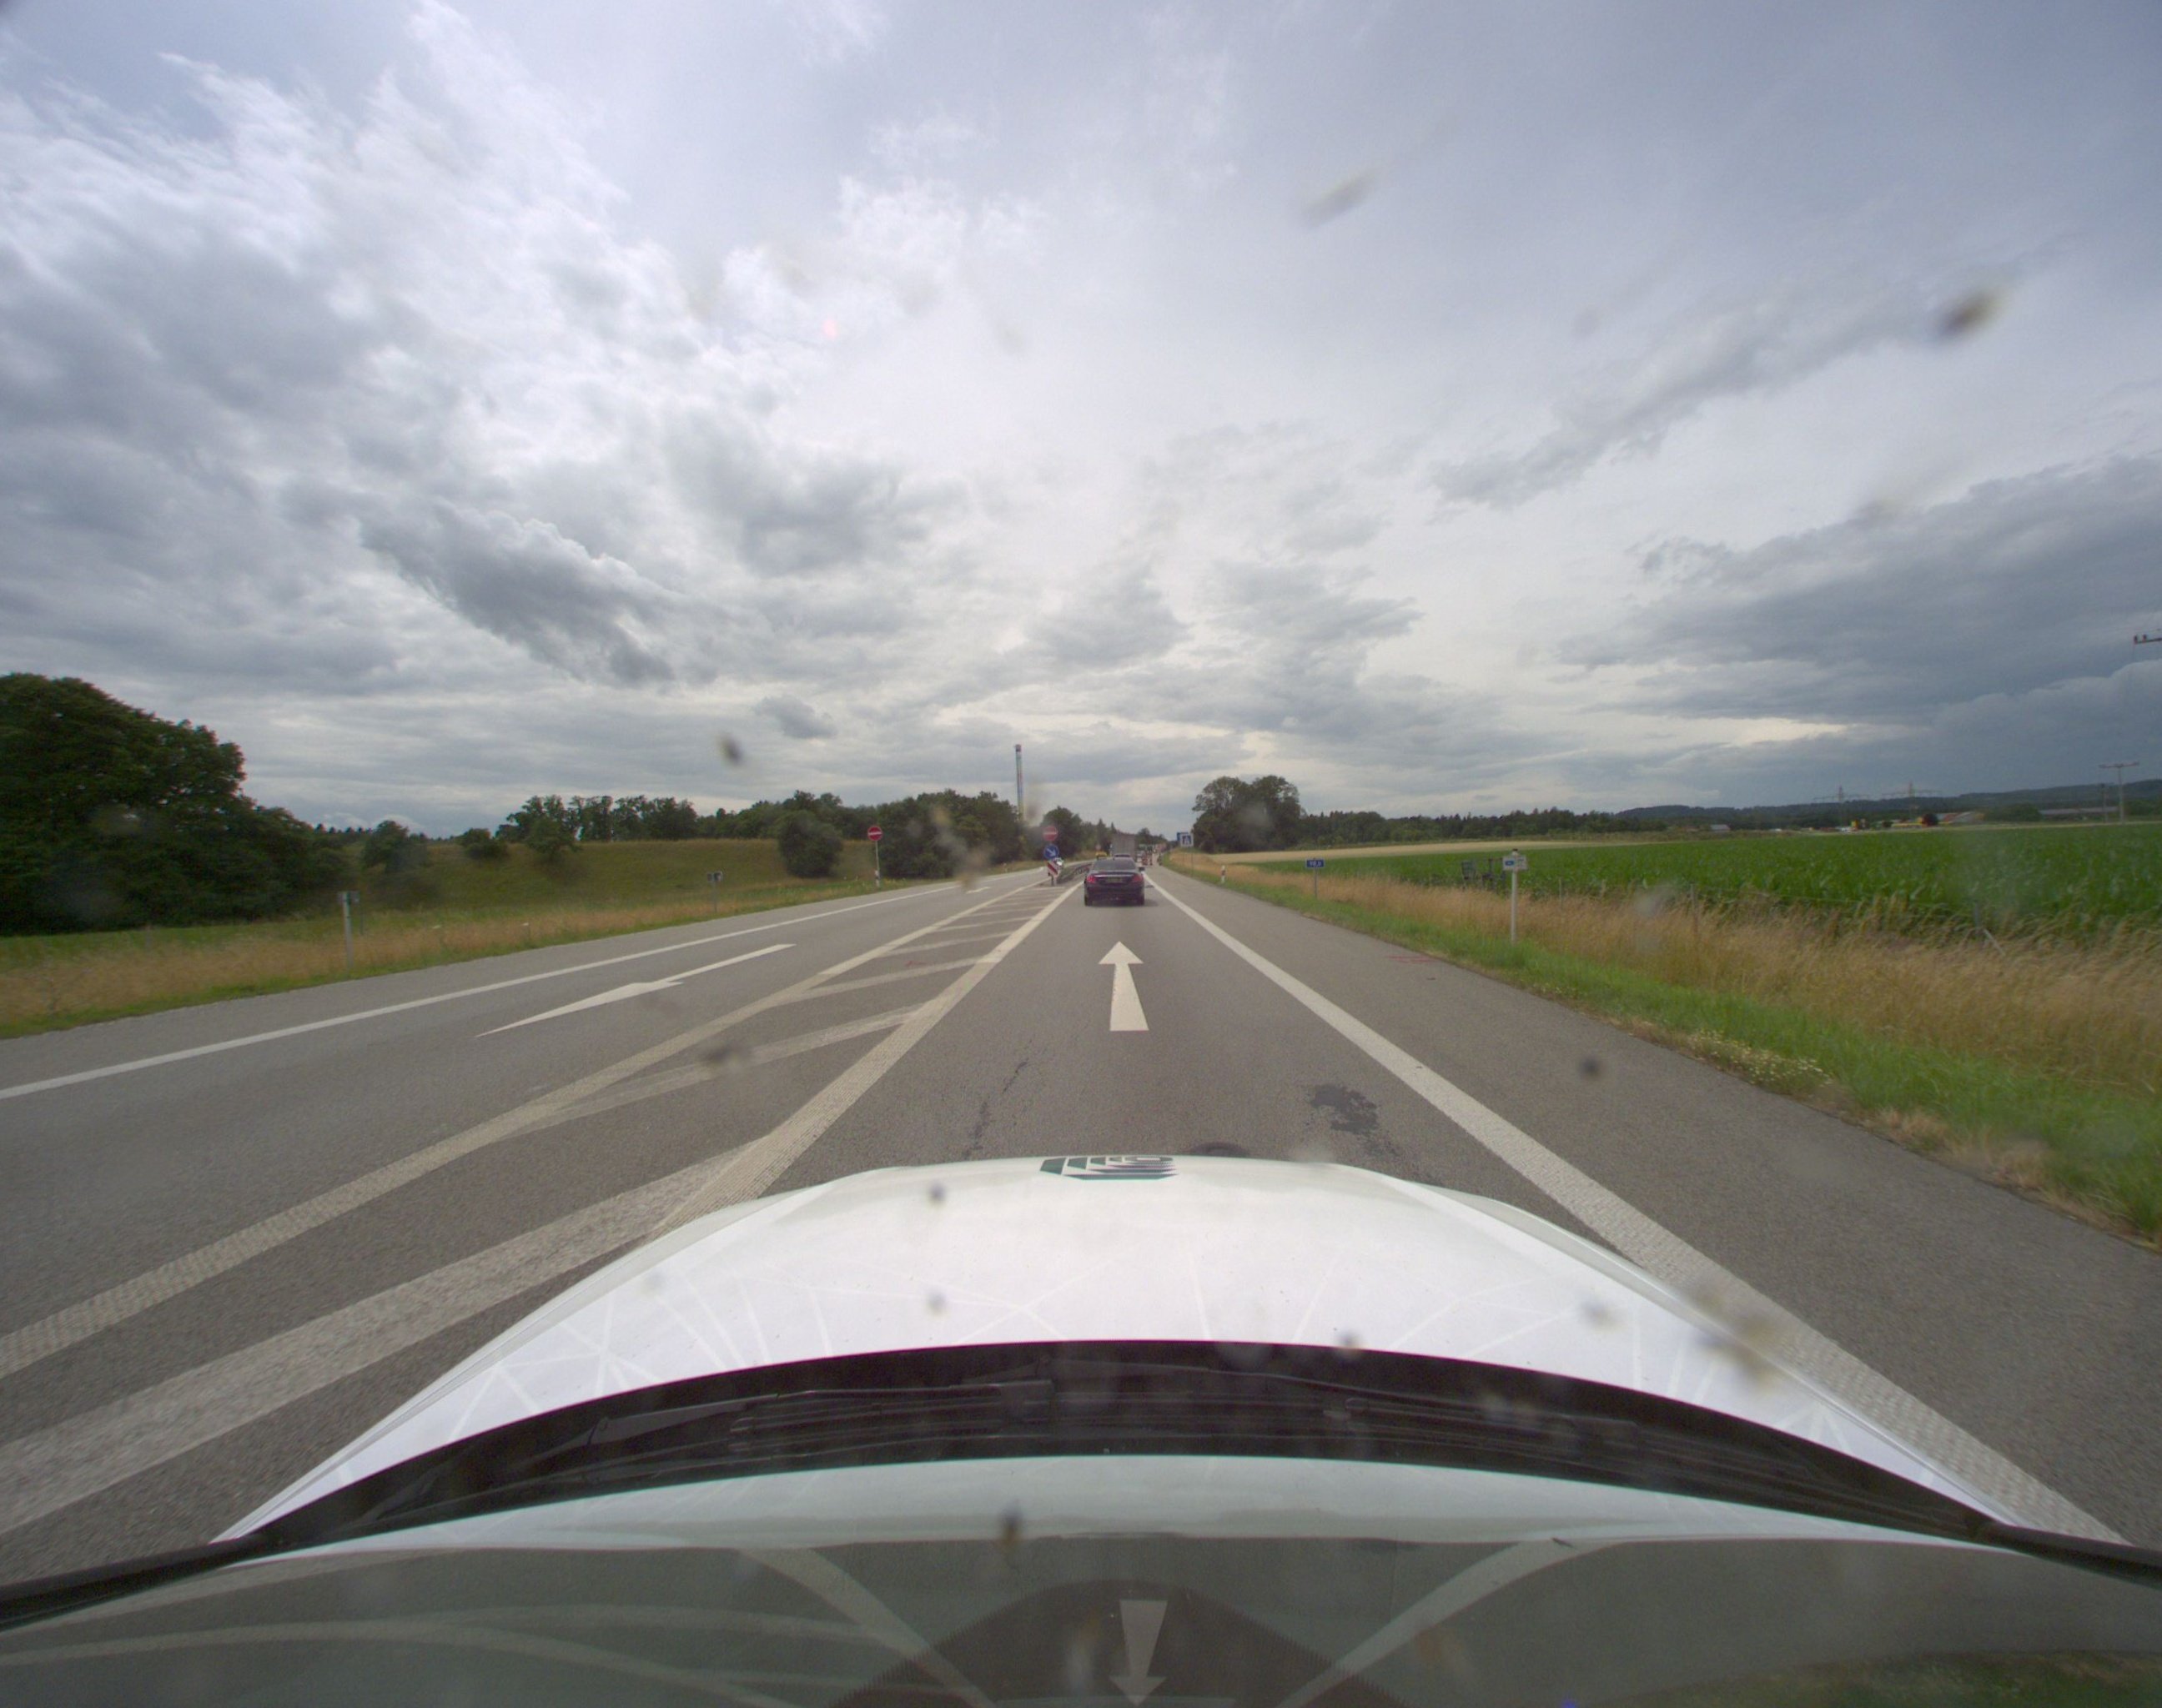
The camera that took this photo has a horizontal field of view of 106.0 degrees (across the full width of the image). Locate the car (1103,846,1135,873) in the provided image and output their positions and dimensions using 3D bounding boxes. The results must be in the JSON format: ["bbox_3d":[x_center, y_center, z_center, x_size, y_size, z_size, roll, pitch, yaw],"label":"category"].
[{"bbox_3d":[2.953,0.459,63.996,1.990,2.014,3.994,-1,-1,-4],"label":"car"}]

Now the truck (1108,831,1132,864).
[{"bbox_3d":[4.388,-0.672,90.528,2.576,3.524,4.817,-1,-1,3],"label":"truck"}]

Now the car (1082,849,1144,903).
[{"bbox_3d":[1.035,0.659,25.585,1.788,1.560,4.003,-1,-1,3],"label":"car"}]

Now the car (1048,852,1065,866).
[{"bbox_3d":[-3.118,0.631,103.288,1.810,1.632,4.605,-1,-1,3],"label":"car"}]

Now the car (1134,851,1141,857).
[{"bbox_3d":[14.215,0.032,204.541,1.643,1.395,3.706,-1,-1,1],"label":"car"}]
